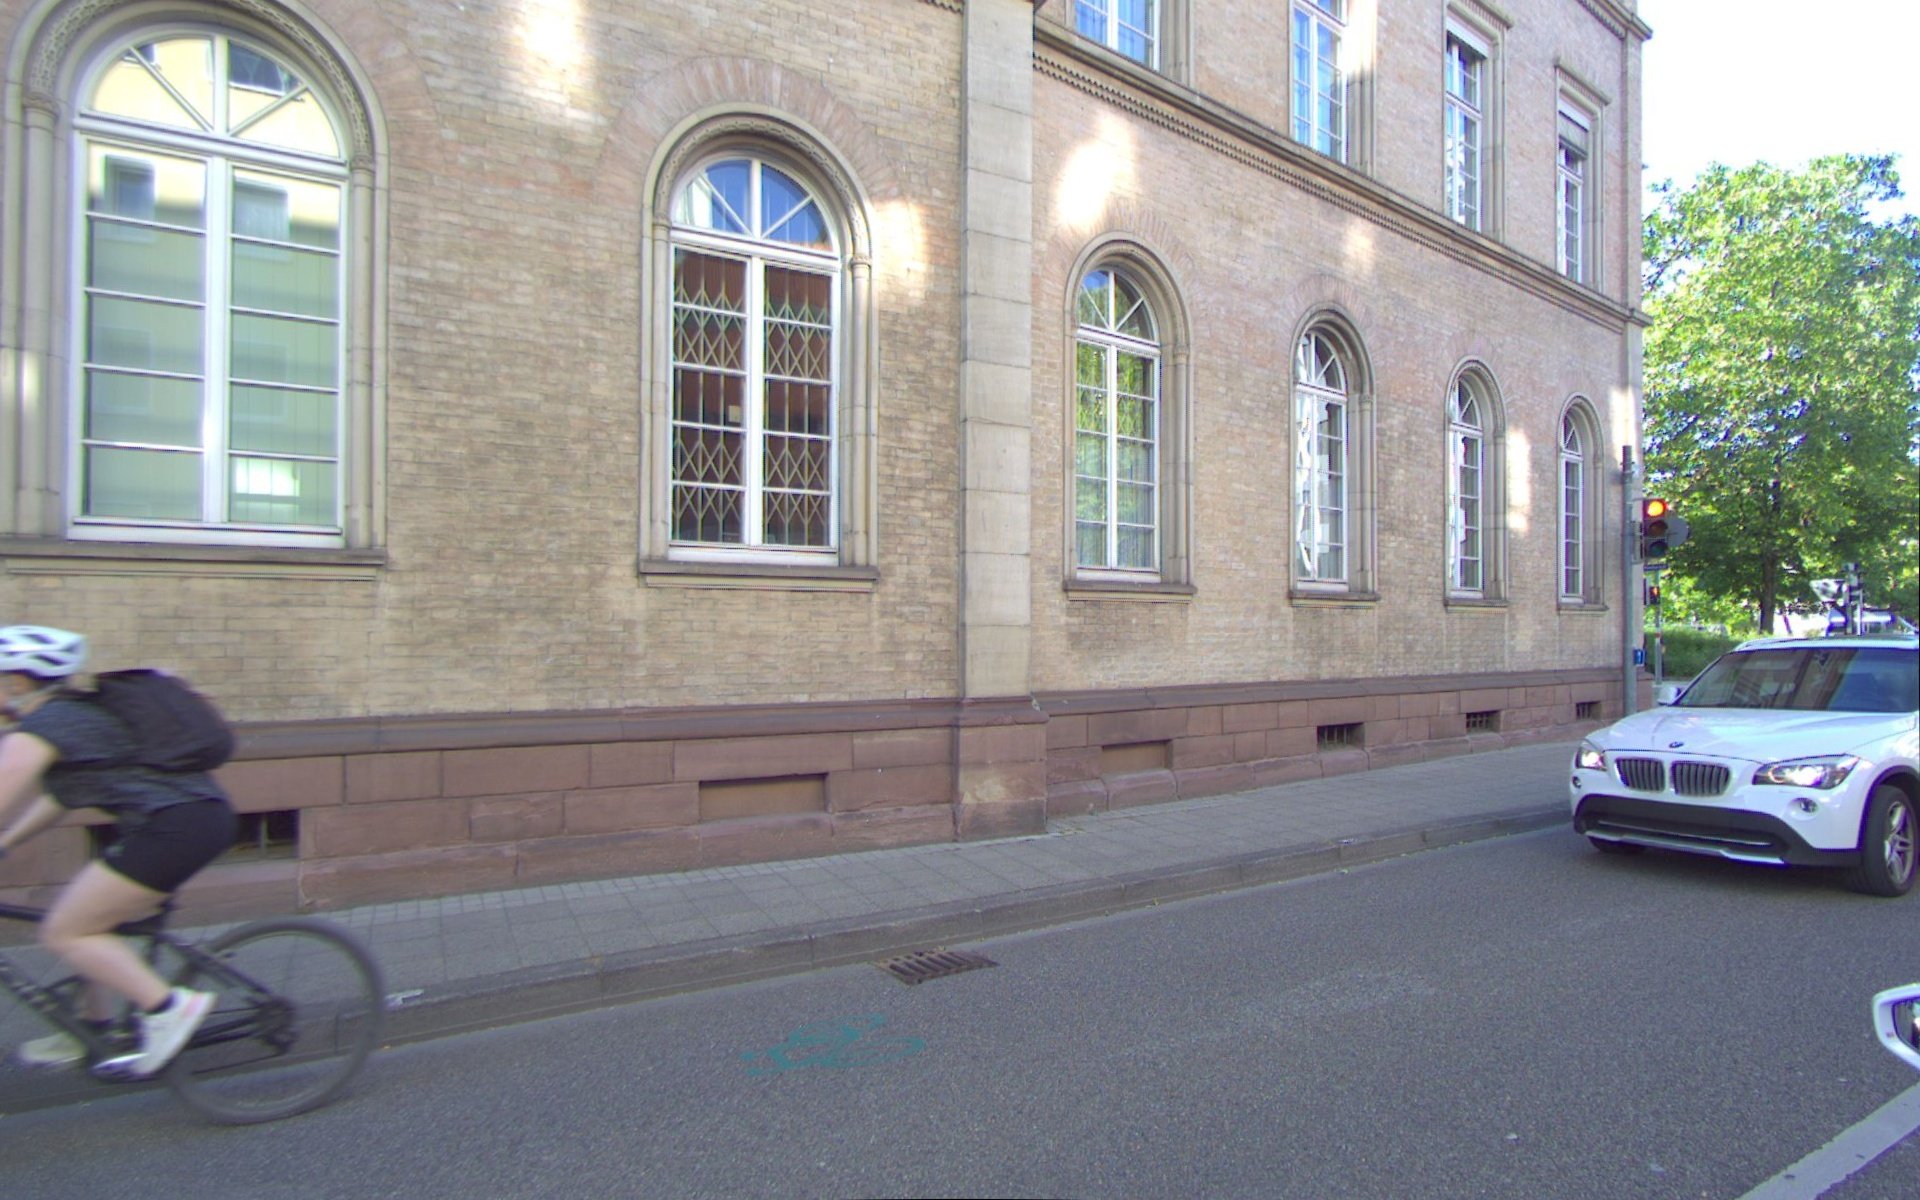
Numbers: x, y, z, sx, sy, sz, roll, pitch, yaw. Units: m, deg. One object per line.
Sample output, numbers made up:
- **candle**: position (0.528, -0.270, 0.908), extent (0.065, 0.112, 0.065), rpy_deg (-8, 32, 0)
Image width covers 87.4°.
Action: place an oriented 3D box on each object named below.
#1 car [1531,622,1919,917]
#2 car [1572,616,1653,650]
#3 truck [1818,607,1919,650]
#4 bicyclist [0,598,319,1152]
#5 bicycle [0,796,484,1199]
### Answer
- **car**: position (6.268, 0.999, 7.208), extent (4.218, 1.603, 1.680), rpy_deg (1, -4, -27)
- **car**: position (47.842, 2.464, 73.723), extent (2.056, 2.423, 4.521), rpy_deg (2, -3, -38)
- **truck**: position (53.768, 1.667, 59.070), extent (2.069, 2.431, 4.790), rpy_deg (1, -1, -39)
- **bicyclist**: position (-2.562, 0.765, 3.159), extent (0.861, 1.495, 0.682), rpy_deg (1, -4, -30)
- **bicycle**: position (-2.504, 1.204, 3.190), extent (1.746, 0.936, 0.682), rpy_deg (1, -4, -30)
